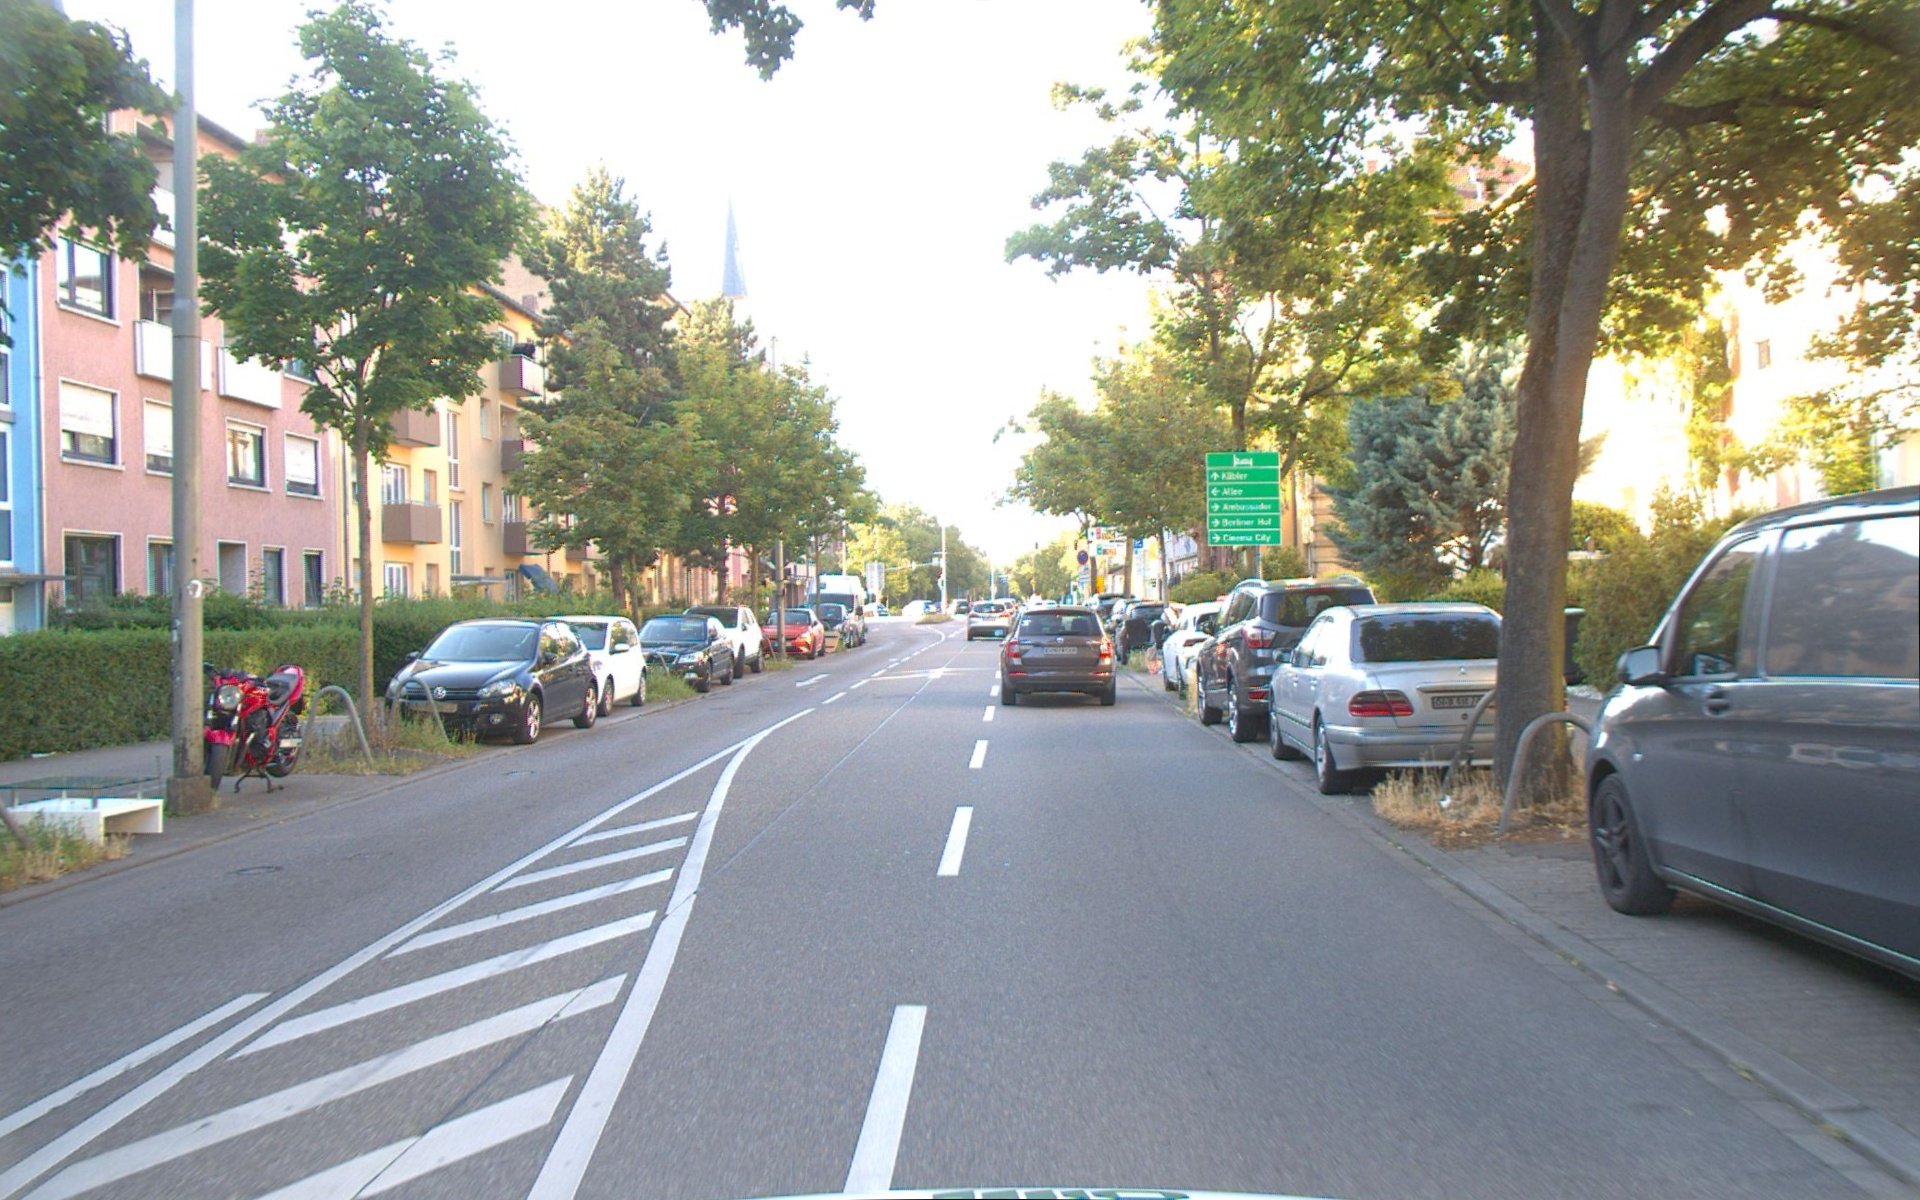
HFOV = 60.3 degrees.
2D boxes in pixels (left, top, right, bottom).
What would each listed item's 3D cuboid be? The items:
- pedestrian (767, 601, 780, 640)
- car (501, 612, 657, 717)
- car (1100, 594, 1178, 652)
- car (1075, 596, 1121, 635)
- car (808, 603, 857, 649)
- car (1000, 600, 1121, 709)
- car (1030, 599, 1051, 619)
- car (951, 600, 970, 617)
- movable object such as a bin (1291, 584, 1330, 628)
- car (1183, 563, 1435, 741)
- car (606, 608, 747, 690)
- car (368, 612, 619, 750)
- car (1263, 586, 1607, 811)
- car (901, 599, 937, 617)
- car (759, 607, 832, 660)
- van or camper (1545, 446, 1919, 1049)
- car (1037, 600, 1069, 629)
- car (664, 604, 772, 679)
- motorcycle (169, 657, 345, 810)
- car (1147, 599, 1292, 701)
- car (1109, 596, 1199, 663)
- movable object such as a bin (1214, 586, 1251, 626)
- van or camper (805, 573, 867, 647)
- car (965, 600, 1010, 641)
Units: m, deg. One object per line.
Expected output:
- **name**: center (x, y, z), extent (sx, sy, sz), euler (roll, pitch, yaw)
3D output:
- **pedestrian**: center (-8.085, 0.888, 71.759), extent (0.470, 1.681, 0.724), euler (-2, 0, -4)
- **car**: center (-5.965, 0.973, 26.273), extent (1.558, 1.518, 3.642), euler (-1, -1, 1)
- **car**: center (5.054, 0.628, 47.108), extent (1.681, 1.498, 4.431), euler (-2, 0, 0)
- **car**: center (5.979, 0.666, 71.948), extent (1.817, 1.538, 4.836), euler (-3, 0, 4)
- **car**: center (-4.524, 0.897, 58.892), extent (1.374, 1.576, 2.763), euler (0, 0, 3)
- **car**: center (1.501, 0.771, 25.334), extent (1.672, 1.482, 4.160), euler (1, 0, 2)
- **car**: center (6.160, 0.696, 126.446), extent (1.552, 1.472, 3.648), euler (0, 0, 2)
- **car**: center (0.092, 0.771, 155.116), extent (1.586, 1.521, 3.349), euler (-1, 0, 3)
- **movable object such as a bin**: center (13.243, 0.226, 62.439), extent (1.133, 1.583, 0.993), euler (-2, 0, -8)
- **car**: center (3.858, 0.529, 19.143), extent (1.877, 1.711, 4.708), euler (-3, 0, 1)
- **car**: center (-5.658, 0.938, 33.538), extent (1.952, 1.473, 4.459), euler (-2, 0, 1)
- **car**: center (-5.798, 0.951, 21.131), extent (1.799, 1.544, 4.317), euler (0, 0, 3)
- **car**: center (3.754, 0.689, 13.964), extent (1.747, 1.530, 4.833), euler (-1, 0, 3)
- **car**: center (-4.088, 0.787, 164.250), extent (1.973, 1.699, 3.959), euler (-2, 0, -30)
- **car**: center (-4.898, 0.976, 49.712), extent (1.681, 1.477, 3.924), euler (-1, 0, 2)
- **van or camper**: center (3.979, 0.415, 6.071), extent (1.952, 1.874, 5.261), euler (-2, 1, 2)
- **car**: center (5.038, 0.774, 89.719), extent (1.616, 1.510, 4.240), euler (-1, 0, 2)
- **car**: center (-5.574, 0.916, 38.534), extent (1.739, 1.616, 4.187), euler (-1, 0, 2)
- **motorcycle**: center (-6.080, 1.114, 14.440), extent (0.625, 1.156, 2.172), euler (1, 0, -1)
- **car**: center (4.081, 0.741, 26.593), extent (1.725, 1.426, 4.334), euler (-3, 0, 2)
- **car**: center (4.674, 0.673, 40.310), extent (1.733, 1.474, 4.485), euler (-3, 0, 2)
- **movable object such as a bin**: center (10.328, 0.222, 62.721), extent (1.226, 1.467, 0.995), euler (-2, 0, 16)
- **van or camper**: center (-4.736, 0.377, 63.851), extent (1.994, 2.710, 6.015), euler (0, 0, -1)
- **car**: center (1.124, 0.797, 65.138), extent (1.672, 1.536, 4.310), euler (-1, 0, 2)
